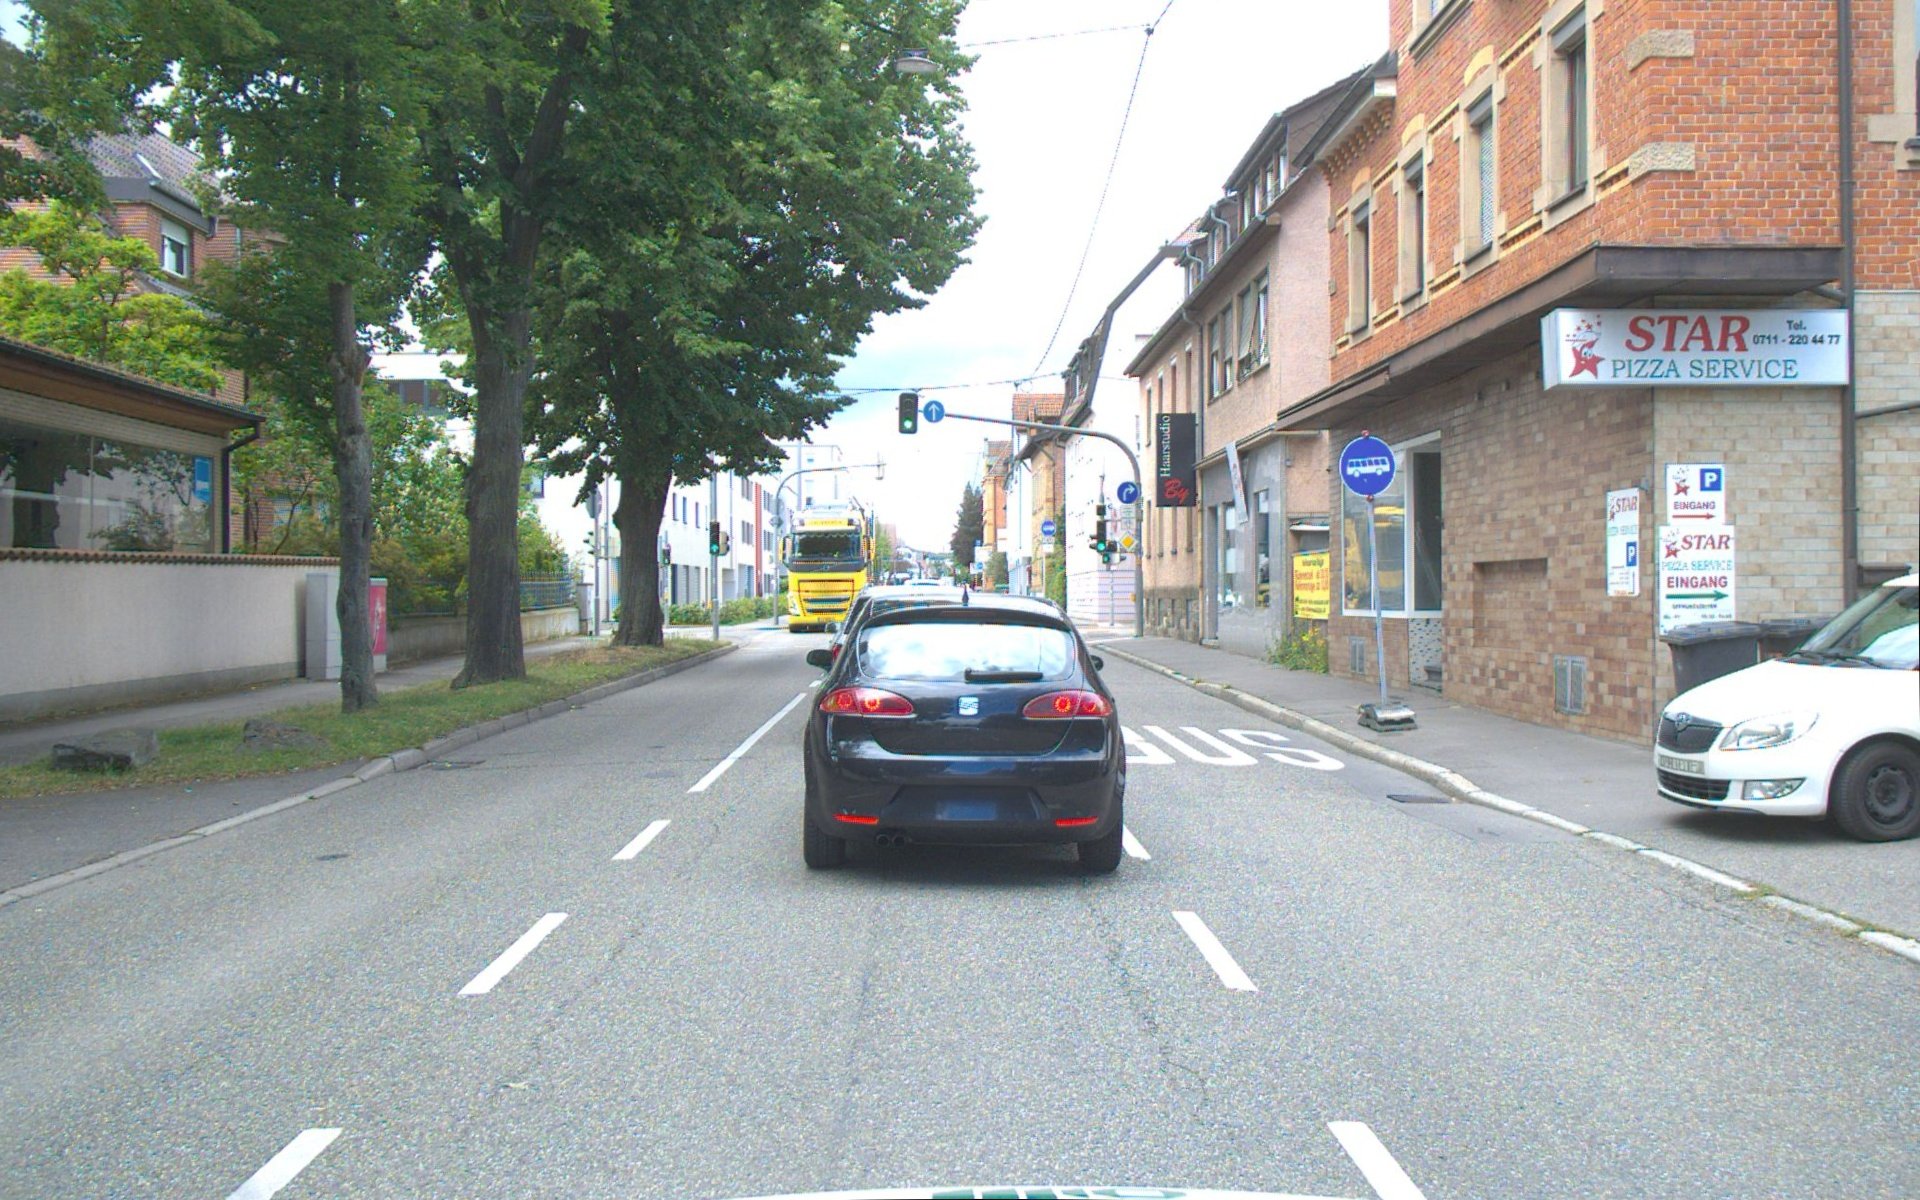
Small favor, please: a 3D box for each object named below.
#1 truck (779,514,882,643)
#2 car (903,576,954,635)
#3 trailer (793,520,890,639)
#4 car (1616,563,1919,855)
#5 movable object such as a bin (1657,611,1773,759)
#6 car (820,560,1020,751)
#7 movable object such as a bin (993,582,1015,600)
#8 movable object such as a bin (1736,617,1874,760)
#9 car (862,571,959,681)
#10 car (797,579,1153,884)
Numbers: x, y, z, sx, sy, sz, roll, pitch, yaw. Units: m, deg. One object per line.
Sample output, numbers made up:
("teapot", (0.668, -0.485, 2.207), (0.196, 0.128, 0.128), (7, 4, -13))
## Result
("truck", (-4.104, -0.653, 53.909), (2.786, 3.848, 7.668), (1, 0, -1))
("car", (-0.989, 0.168, 51.025), (1.500, 1.722, 3.692), (1, 0, -2))
("trailer", (-4.217, -0.685, 61.815), (2.800, 3.874, 14.388), (1, 0, -1))
("car", (6.331, 0.511, 10.100), (3.949, 1.495, 1.600), (-4, 0, -3))
("movable object such as a bin", (5.988, 0.664, 13.144), (0.594, 1.120, 0.622), (-2, 0, -1))
("car", (-0.415, 0.502, 17.094), (1.805, 1.722, 3.999), (1, 0, -2))
("movable object such as a bin", (3.796, -0.757, 142.343), (1.781, 1.462, 1.992), (1, 0, 0))
("movable object such as a bin", (6.730, 0.689, 13.200), (0.684, 1.077, 0.723), (-2, 0, -1))
("car", (-0.827, 0.411, 27.978), (1.500, 1.722, 3.692), (1, 0, -2))
("car", (0.036, 0.642, 10.071), (1.723, 1.467, 3.999), (1, 0, -1))
